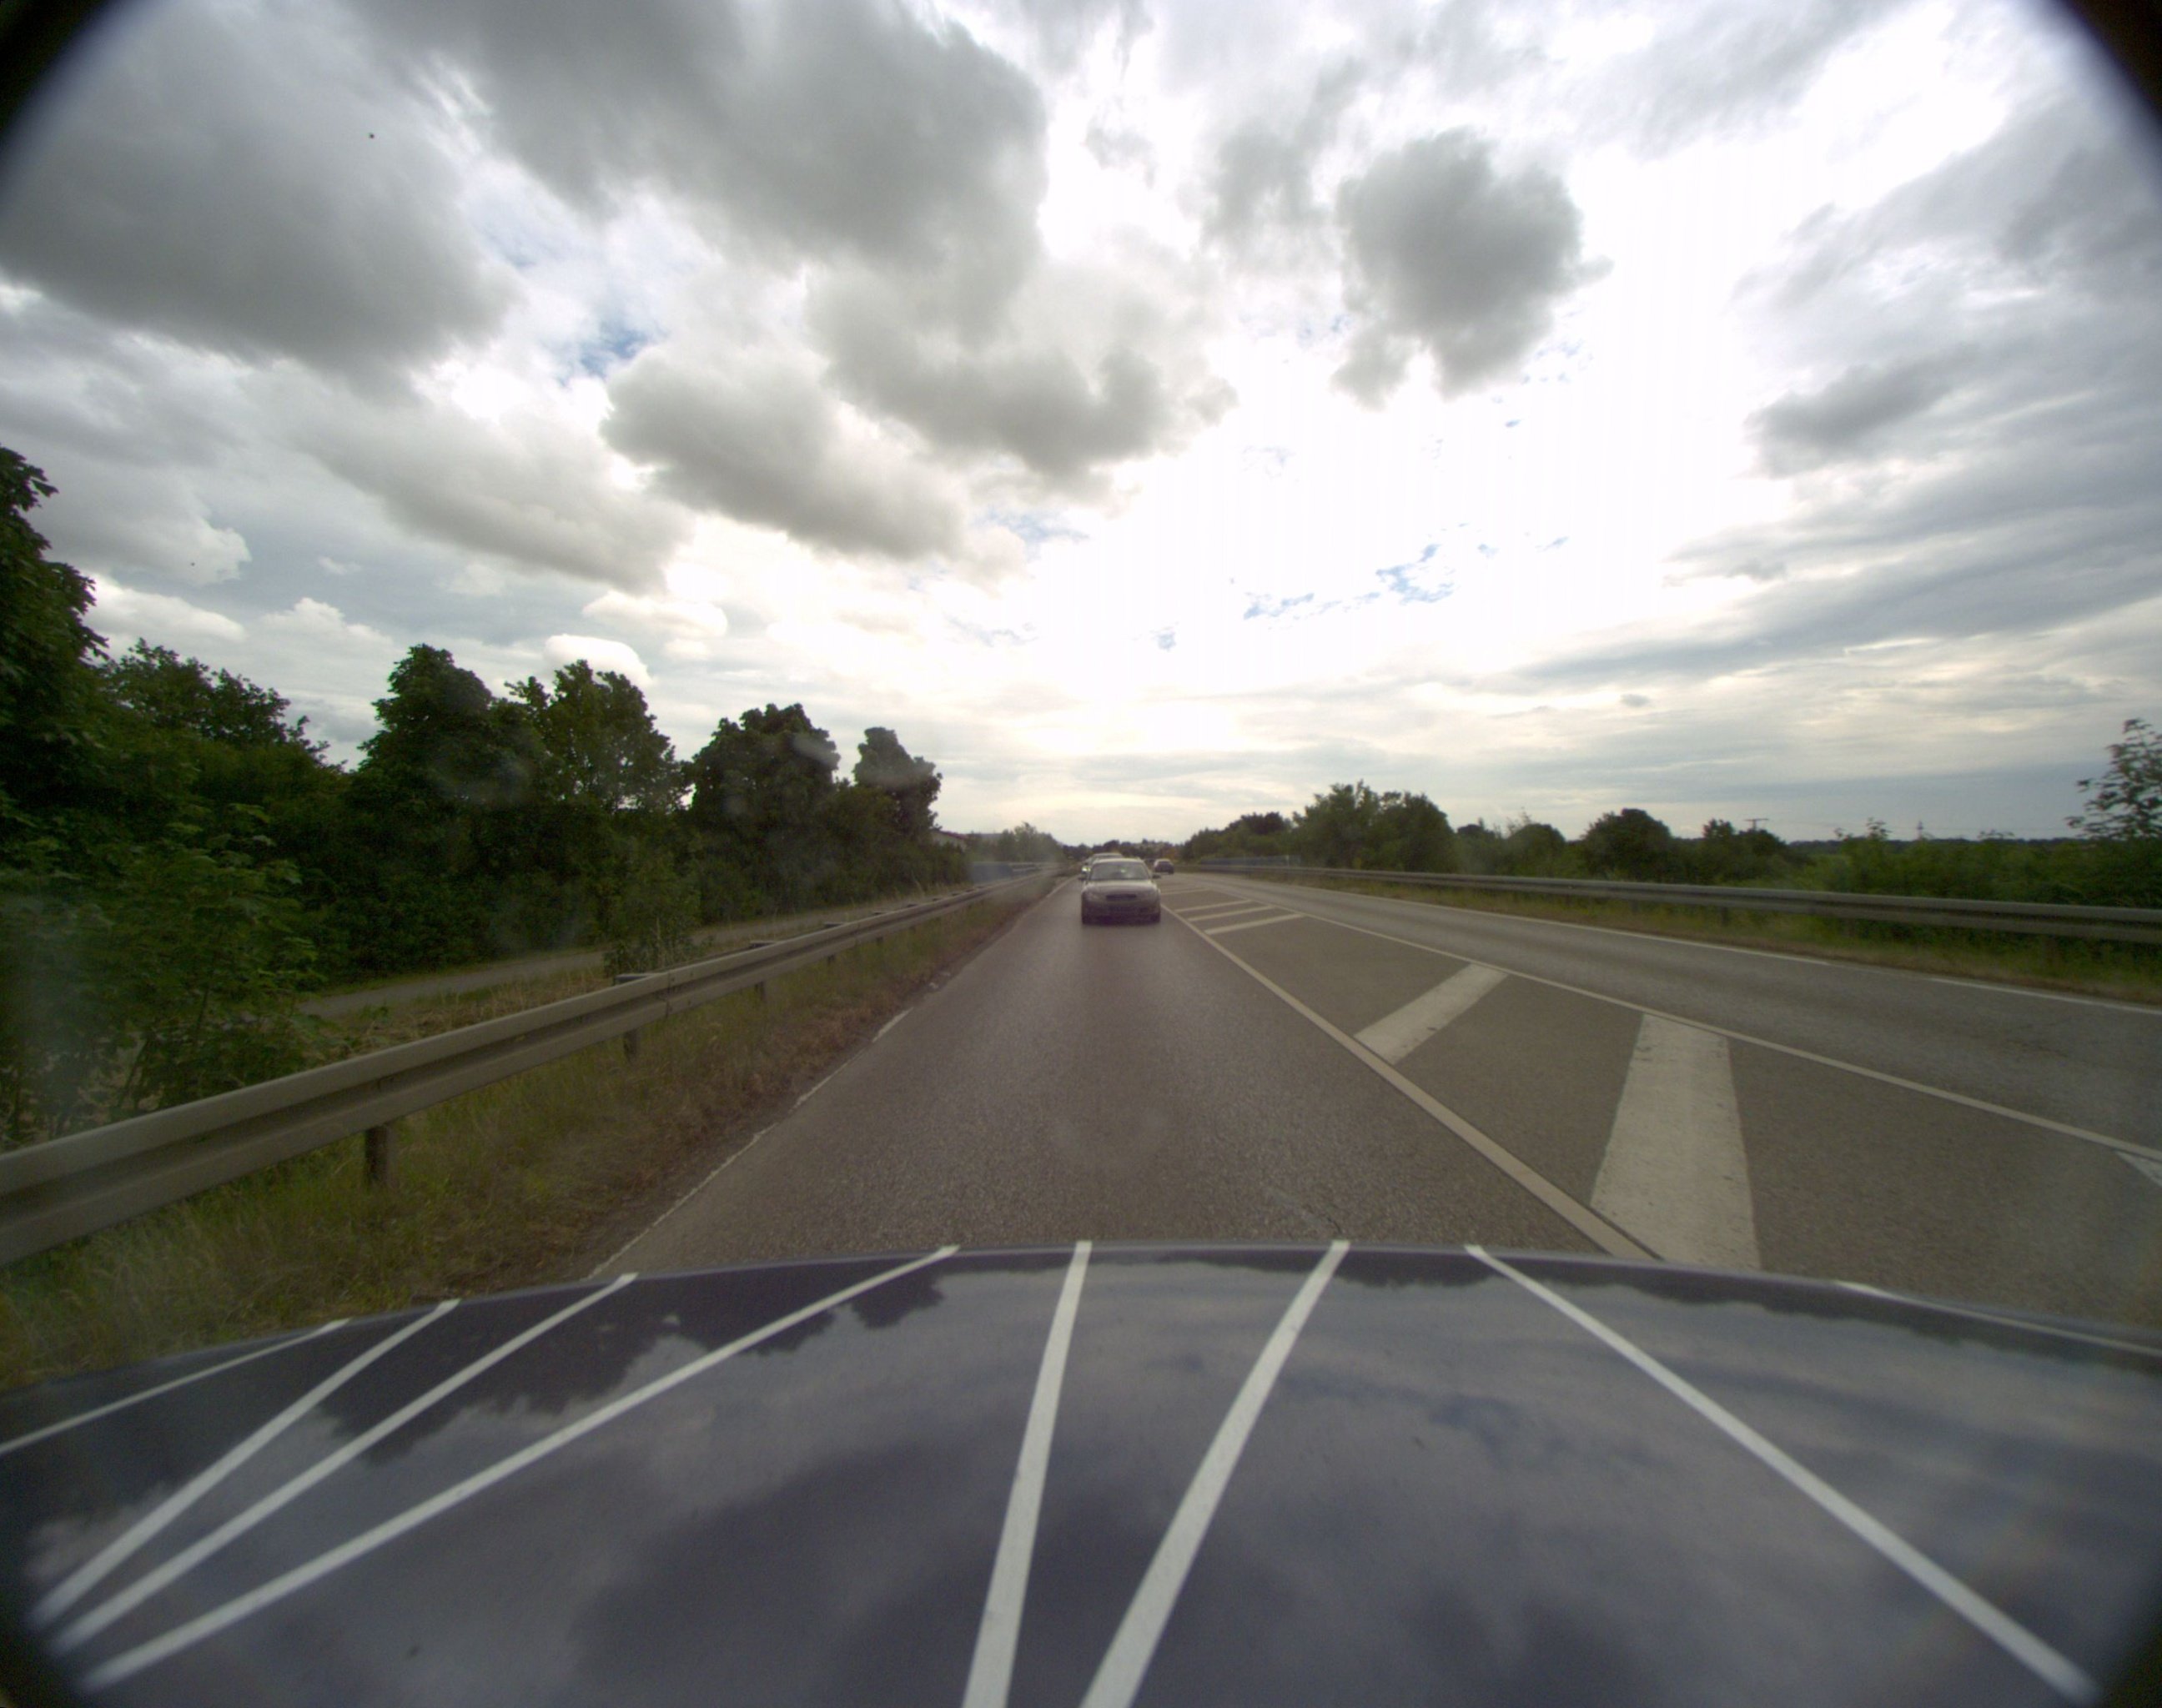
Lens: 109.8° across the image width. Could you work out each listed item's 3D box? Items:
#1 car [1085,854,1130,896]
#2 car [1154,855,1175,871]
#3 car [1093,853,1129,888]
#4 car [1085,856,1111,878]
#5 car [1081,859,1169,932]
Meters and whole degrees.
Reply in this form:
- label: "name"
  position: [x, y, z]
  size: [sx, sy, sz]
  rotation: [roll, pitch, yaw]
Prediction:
- label: "car"
  position: [1.037, 0.808, 31.081]
  size: [1.684, 1.521, 4.000]
  rotation: [-2, 0, 1]
- label: "car"
  position: [8.115, 0.855, 73.992]
  size: [1.626, 1.371, 4.512]
  rotation: [-1, 0, 1]
- label: "car"
  position: [1.416, 0.742, 36.238]
  size: [1.602, 1.494, 3.962]
  rotation: [-2, 0, 2]
- label: "car"
  position: [1.189, 0.884, 52.217]
  size: [1.670, 1.339, 4.000]
  rotation: [-2, 0, 1]
- label: "car"
  position: [0.931, 0.867, 17.620]
  size: [1.768, 1.383, 3.876]
  rotation: [-2, 1, 1]
